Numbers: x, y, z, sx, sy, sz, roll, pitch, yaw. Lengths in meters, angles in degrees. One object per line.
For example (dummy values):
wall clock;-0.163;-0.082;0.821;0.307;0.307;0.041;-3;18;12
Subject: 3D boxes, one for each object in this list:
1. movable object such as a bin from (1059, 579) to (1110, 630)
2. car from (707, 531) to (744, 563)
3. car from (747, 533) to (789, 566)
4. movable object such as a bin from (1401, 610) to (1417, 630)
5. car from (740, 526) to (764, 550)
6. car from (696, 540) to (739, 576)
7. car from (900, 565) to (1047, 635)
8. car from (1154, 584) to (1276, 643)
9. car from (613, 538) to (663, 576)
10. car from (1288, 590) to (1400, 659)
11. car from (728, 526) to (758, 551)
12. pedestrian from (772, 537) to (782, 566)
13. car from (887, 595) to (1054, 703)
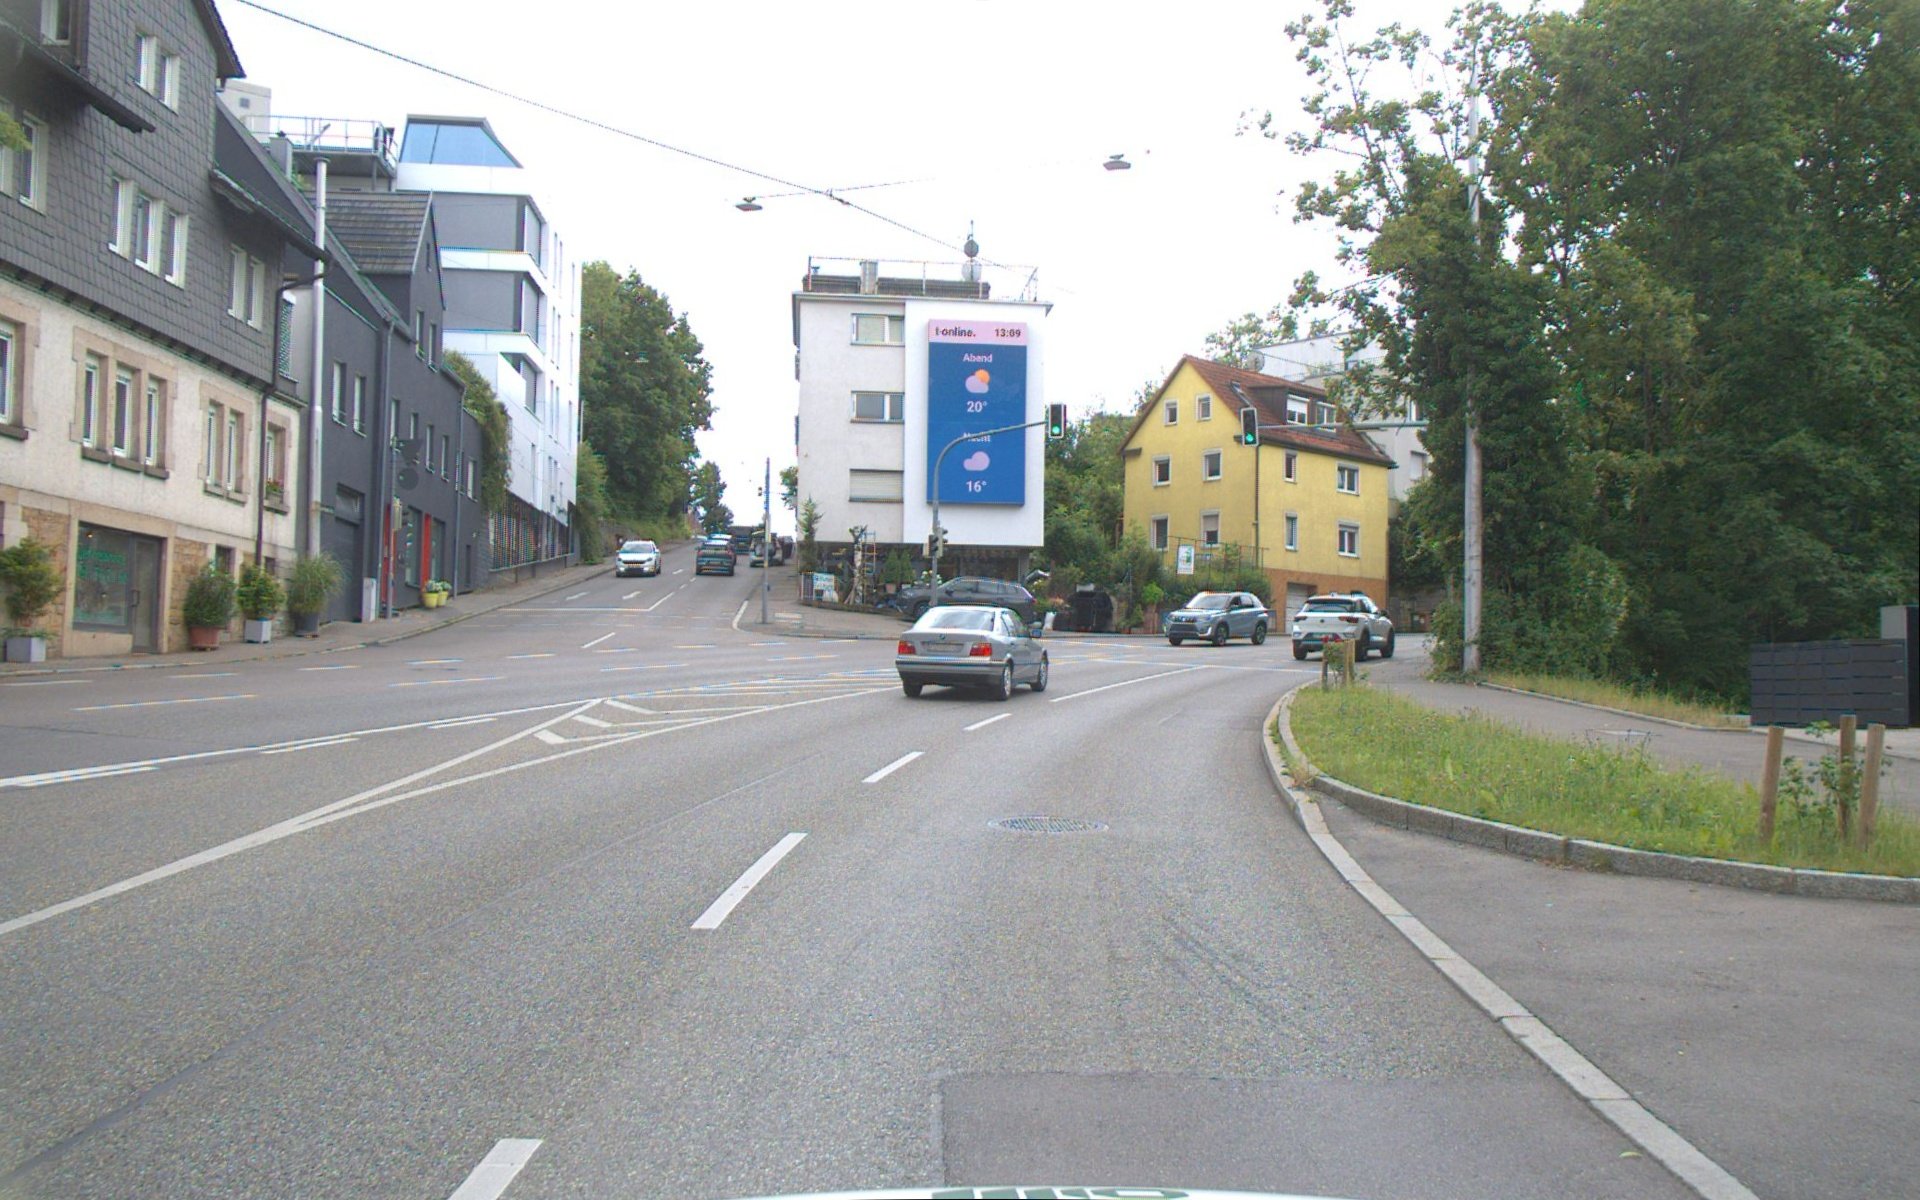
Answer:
movable object such as a bin;4.572;0.142;60.526;1.725;1.810;1.856;1;0;8
car;-12.876;-2.930;90.982;1.745;1.606;3.997;2;3;-5
car;-10.402;-2.709;89.700;2.048;1.641;3.997;1;0;-4
movable object such as a bin;20.651;0.906;76.021;0.557;0.901;0.609;2;1;29
car;-19.125;-5.683;152.310;1.955;2.048;3.996;2;1;-5
car;-11.474;-1.981;78.548;1.745;1.606;3.996;2;1;-5
car;0.406;-0.015;55.133;4.599;1.741;2.317;6;3;-6
car;7.885;0.405;50.834;1.865;1.725;4.328;1;0;38
car;-14.697;-1.984;75.651;1.846;1.594;4.385;1;3;-6
car;9.654;0.576;41.367;1.746;1.606;3.994;1;0;28
car;-14.118;-3.971;107.718;1.759;1.490;3.996;2;1;-5
pedestrian;-9.751;-2.581;88.250;0.449;1.556;0.526;1;-1;-4
car;0.250;0.700;25.926;1.670;1.489;4.003;2;1;14
